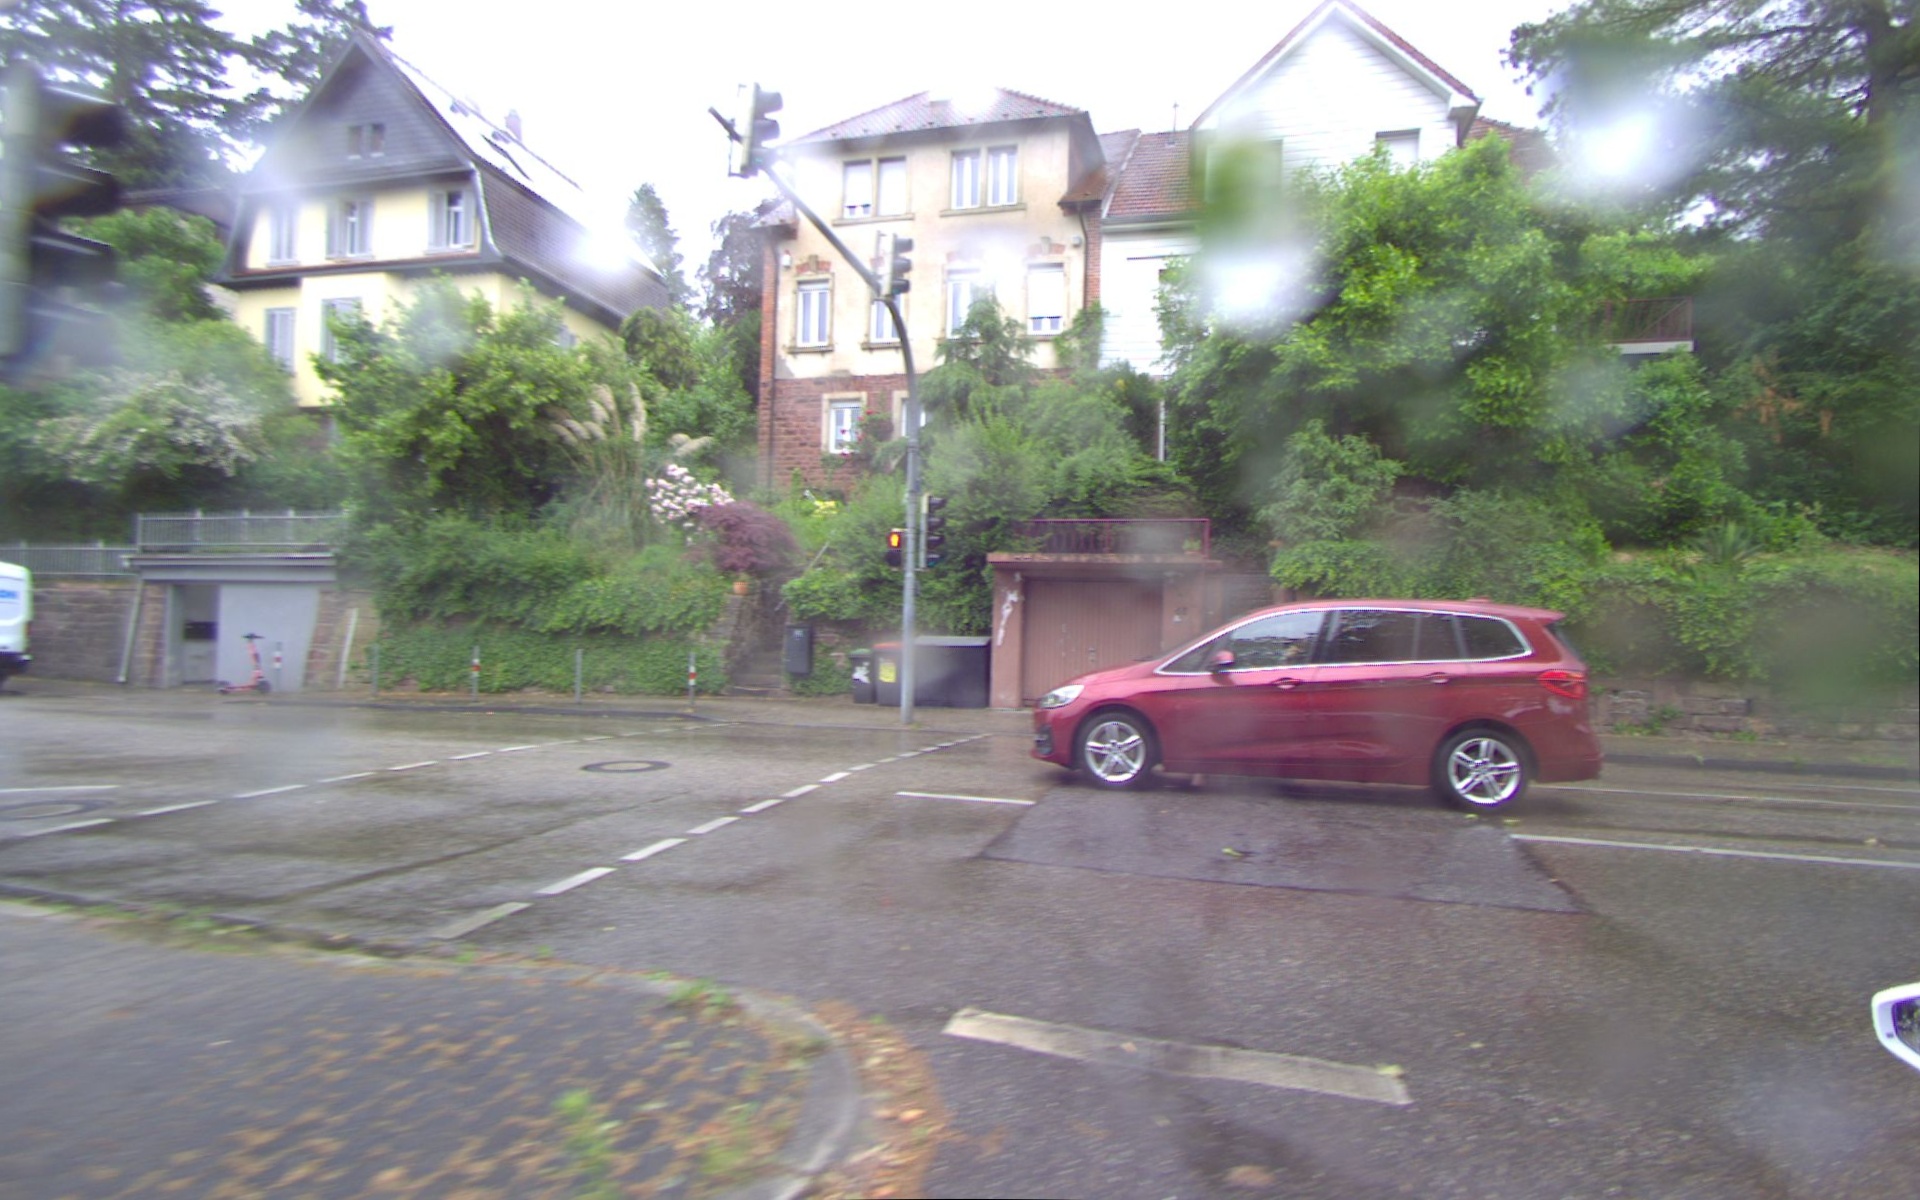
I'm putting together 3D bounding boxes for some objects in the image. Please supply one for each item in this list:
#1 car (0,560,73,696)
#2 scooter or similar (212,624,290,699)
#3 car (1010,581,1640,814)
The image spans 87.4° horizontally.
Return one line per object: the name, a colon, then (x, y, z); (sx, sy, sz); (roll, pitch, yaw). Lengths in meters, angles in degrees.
car: (-20.572, 0.449, 19.495); (5.565, 2.526, 2.317); (2, -2, 16)
scooter or similar: (-12.976, 1.126, 18.412); (1.080, 1.352, 0.459); (2, -3, -28)
car: (2.815, 0.743, 8.493); (4.491, 1.622, 1.776); (-1, -3, 16)
